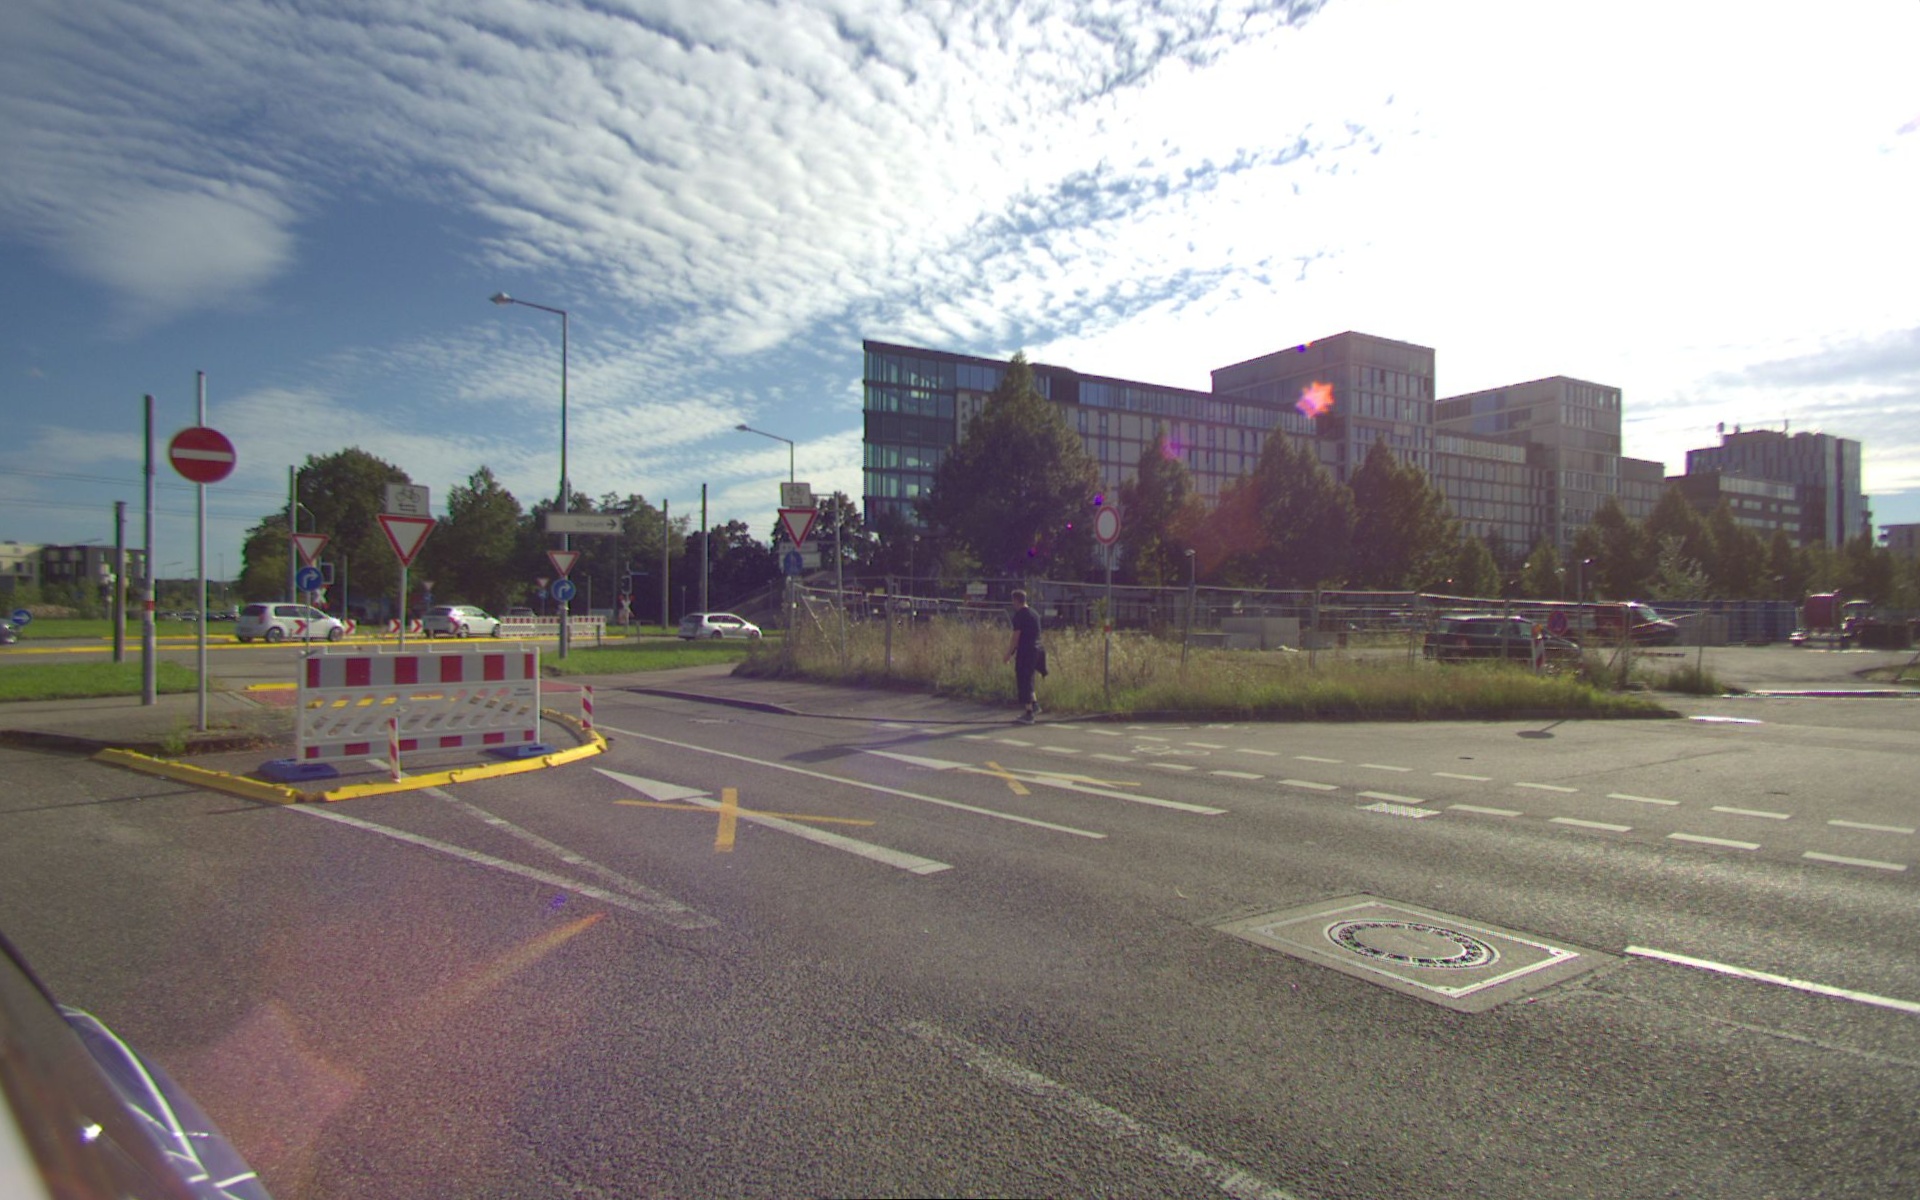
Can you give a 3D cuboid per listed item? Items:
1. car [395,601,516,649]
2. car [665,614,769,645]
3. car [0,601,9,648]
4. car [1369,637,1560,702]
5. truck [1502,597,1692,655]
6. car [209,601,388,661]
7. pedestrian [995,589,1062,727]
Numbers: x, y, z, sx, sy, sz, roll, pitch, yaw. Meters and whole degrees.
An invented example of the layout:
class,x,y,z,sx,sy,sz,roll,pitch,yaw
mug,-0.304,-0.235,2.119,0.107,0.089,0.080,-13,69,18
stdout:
class,x,y,z,sx,sy,sz,roll,pitch,yaw
car,-23.452,1.083,47.391,2.446,2.074,5.798,0,0,5
car,-11.393,1.351,47.778,1.994,1.362,4.758,0,-1,33
car,-29.957,0.699,28.303,1.999,1.362,4.746,0,-1,41
car,14.058,1.907,28.432,4.357,1.670,1.997,0,0,5
truck,34.399,1.289,55.028,3.305,2.875,8.137,0,0,-31
car,-25.100,1.088,38.685,2.456,2.074,5.473,0,0,17
pedestrian,0.946,0.773,13.919,0.740,1.838,0.705,0,0,21
